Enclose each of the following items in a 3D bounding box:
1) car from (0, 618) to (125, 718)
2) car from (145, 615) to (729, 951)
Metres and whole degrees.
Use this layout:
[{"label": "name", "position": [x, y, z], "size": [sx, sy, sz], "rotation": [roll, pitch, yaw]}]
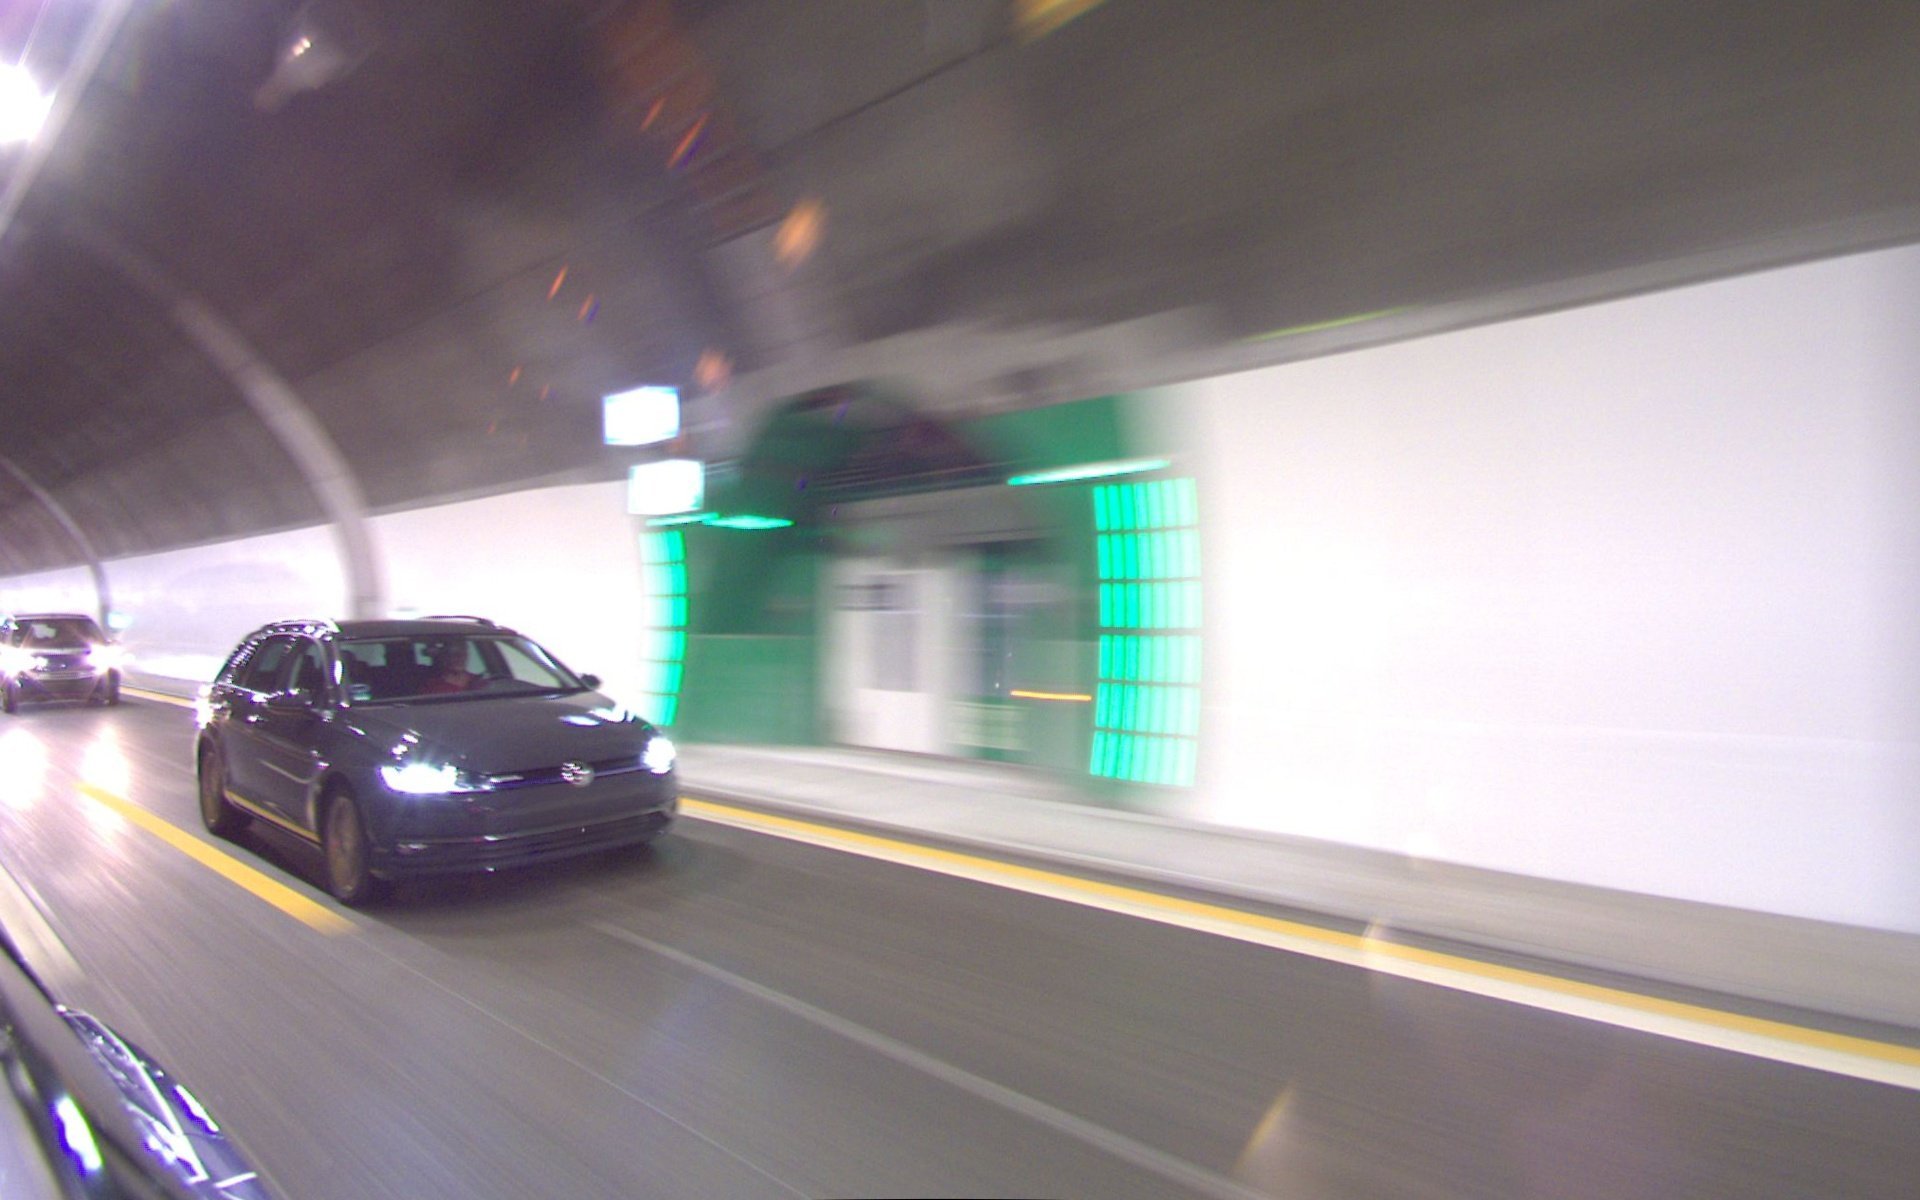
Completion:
[{"label": "car", "position": [-15.211, 1.073, 16.888], "size": [2.649, 1.528, 1.512], "rotation": [-1, -2, 40]}, {"label": "car", "position": [-3.725, 0.852, 6.689], "size": [4.880, 1.449, 1.759], "rotation": [-1, -1, 41]}]
